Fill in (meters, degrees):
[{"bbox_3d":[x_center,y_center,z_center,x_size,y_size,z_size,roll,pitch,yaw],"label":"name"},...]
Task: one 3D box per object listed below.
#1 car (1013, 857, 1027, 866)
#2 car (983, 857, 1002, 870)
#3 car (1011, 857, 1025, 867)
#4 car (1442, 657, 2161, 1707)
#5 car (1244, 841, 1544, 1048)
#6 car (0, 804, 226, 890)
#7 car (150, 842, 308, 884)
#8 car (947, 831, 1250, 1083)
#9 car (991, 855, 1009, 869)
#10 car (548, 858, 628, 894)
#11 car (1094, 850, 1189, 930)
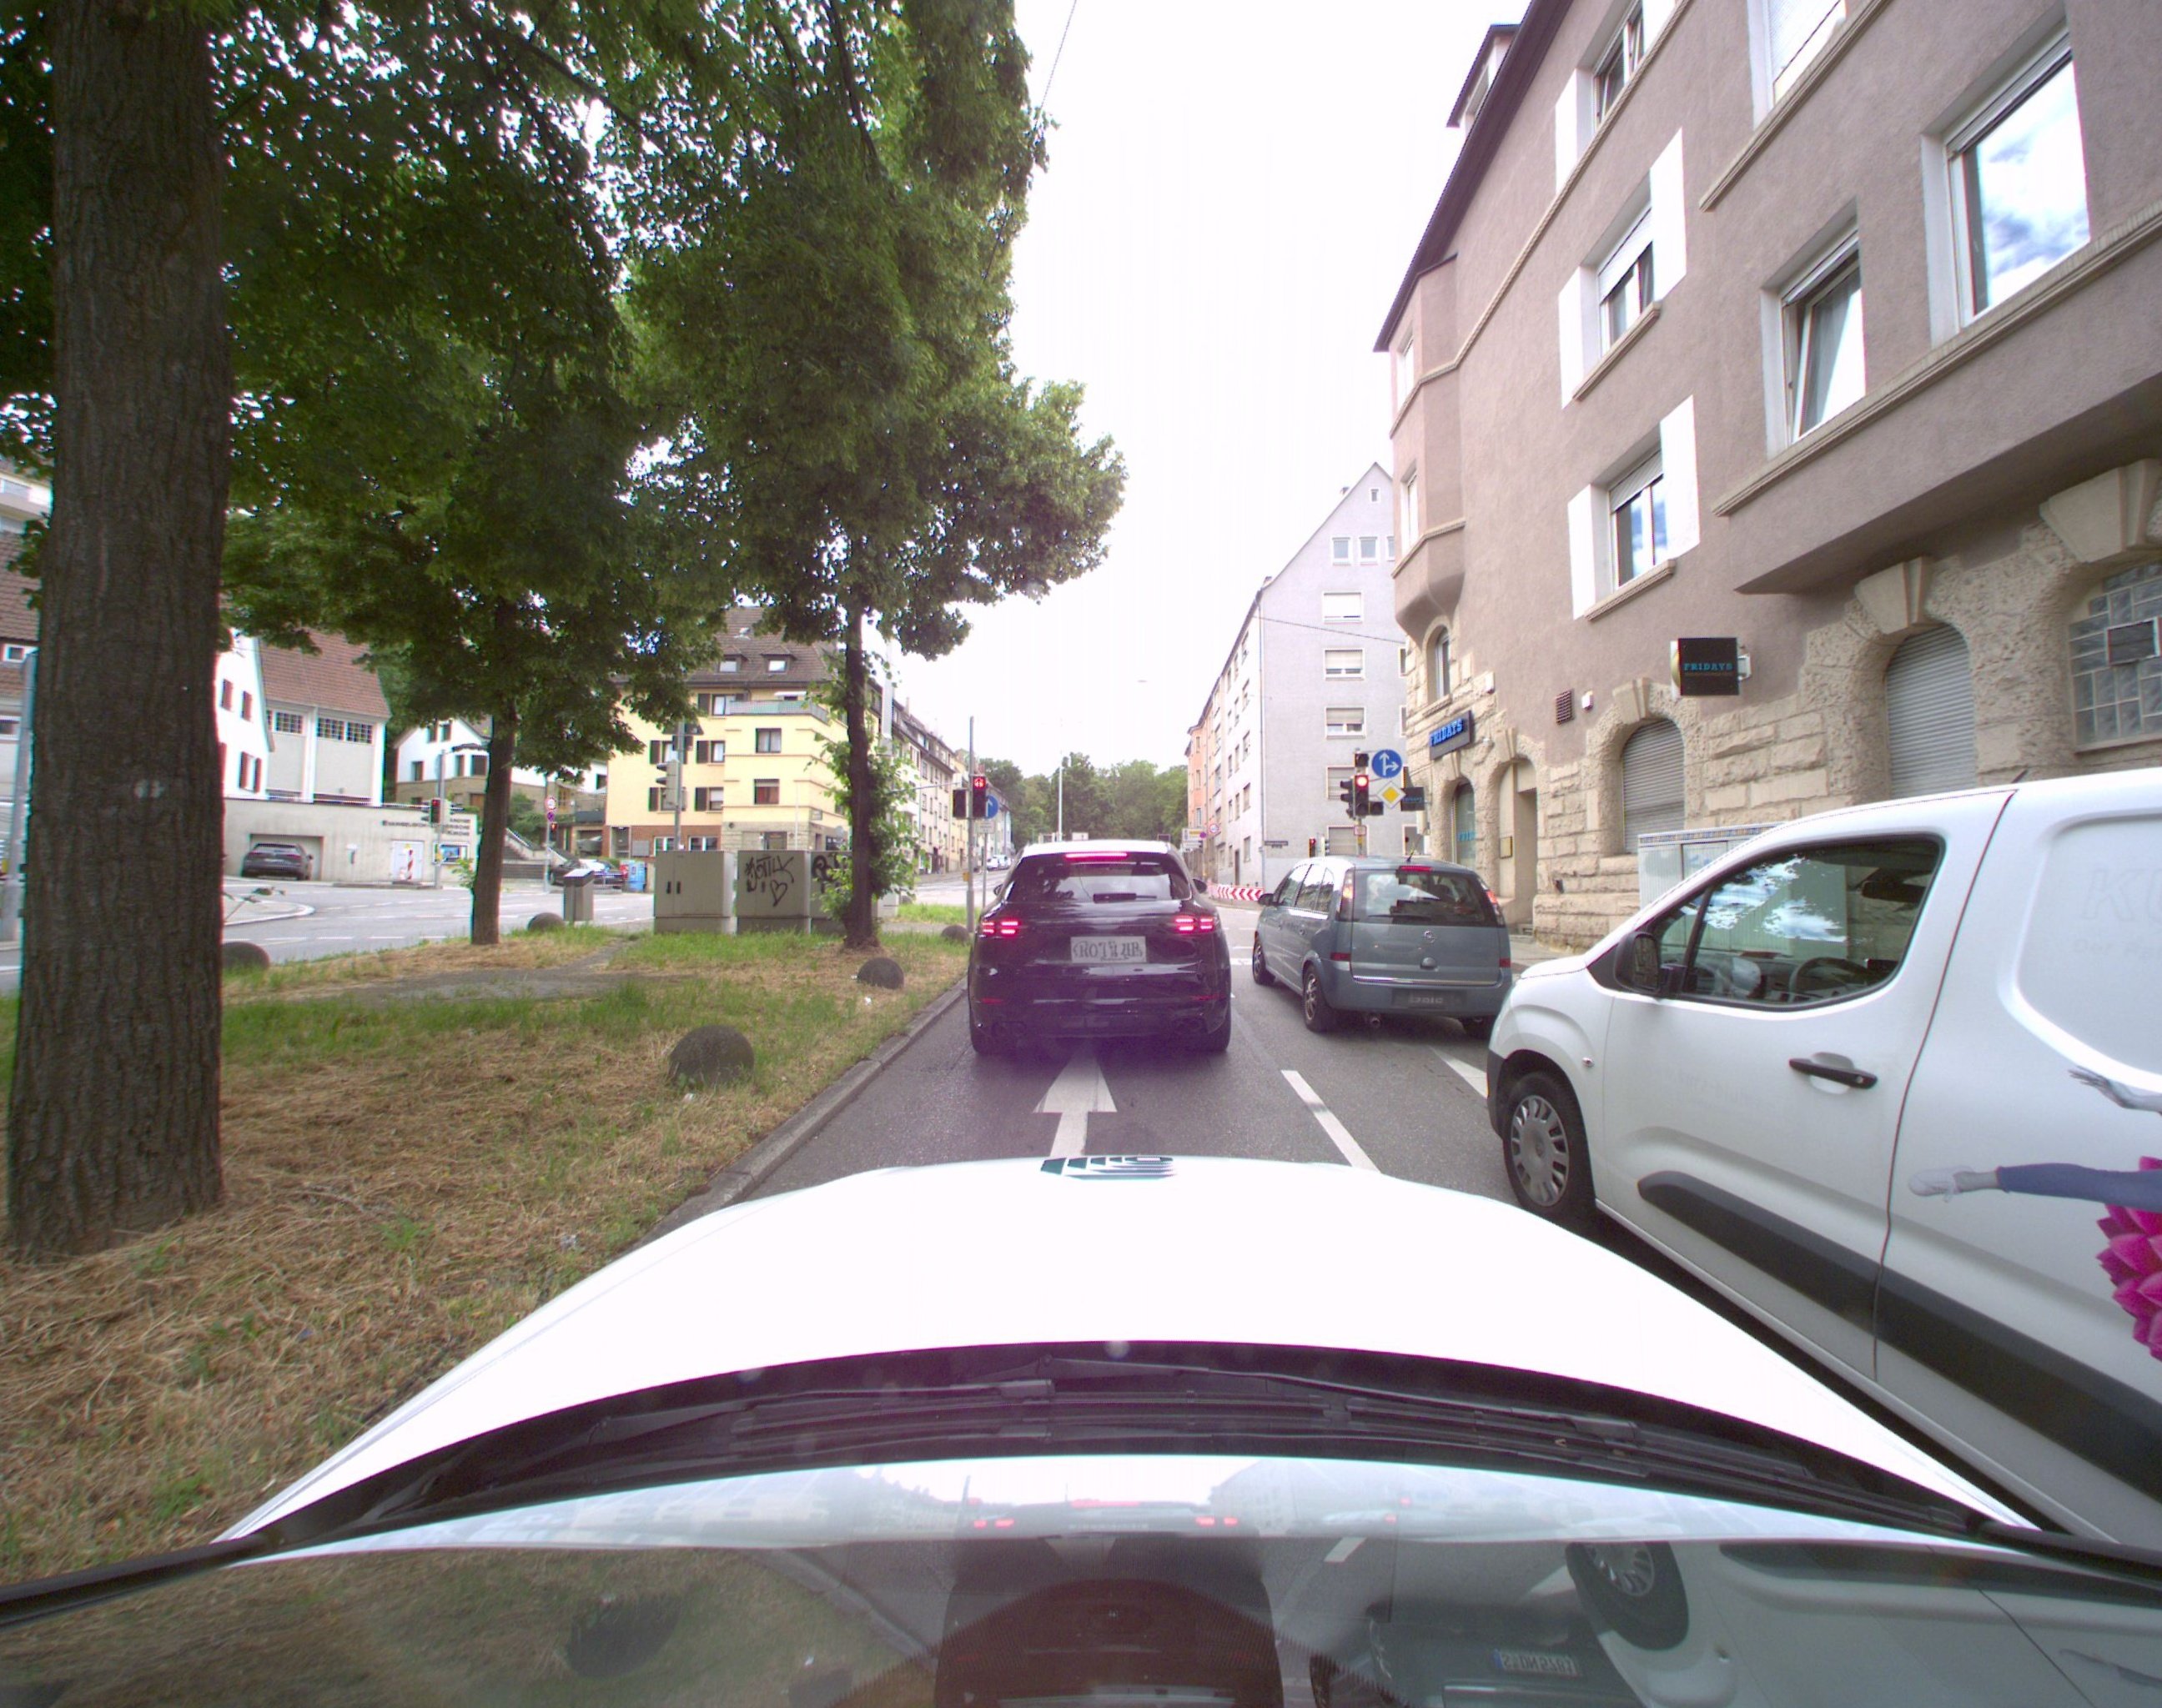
[{"bbox_3d":[-9.815,1.191,130.855,1.788,1.510,4.001,0,0,1],"label":"car"},{"bbox_3d":[-10.832,1.145,99.550,1.788,1.510,4.001,0,0,1],"label":"car"},{"bbox_3d":[-9.765,1.153,125.952,1.788,1.510,4.001,0,0,1],"label":"car"},{"bbox_3d":[2.779,0.638,2.273,1.840,1.825,5.029,1,-2,7],"label":"car"},{"bbox_3d":[2.909,0.745,8.429,1.746,1.593,3.632,3,0,2],"label":"car"},{"bbox_3d":[-26.091,-0.179,20.986,5.183,2.064,1.983,2,-1,-19],"label":"car"},{"bbox_3d":[-32.490,0.325,31.237,4.021,1.510,1.779,1,-1,-41],"label":"car"},{"bbox_3d":[0.236,0.679,7.403,1.986,1.653,4.004,-1,0,3],"label":"car"},{"bbox_3d":[-10.422,0.981,104.569,1.788,1.810,4.001,0,0,1],"label":"car"},{"bbox_3d":[-23.947,1.096,39.518,3.948,1.665,1.894,-2,-2,36],"label":"car"},{"bbox_3d":[1.397,0.792,19.213,1.986,1.653,4.003,-1,-1,3],"label":"car"}]
